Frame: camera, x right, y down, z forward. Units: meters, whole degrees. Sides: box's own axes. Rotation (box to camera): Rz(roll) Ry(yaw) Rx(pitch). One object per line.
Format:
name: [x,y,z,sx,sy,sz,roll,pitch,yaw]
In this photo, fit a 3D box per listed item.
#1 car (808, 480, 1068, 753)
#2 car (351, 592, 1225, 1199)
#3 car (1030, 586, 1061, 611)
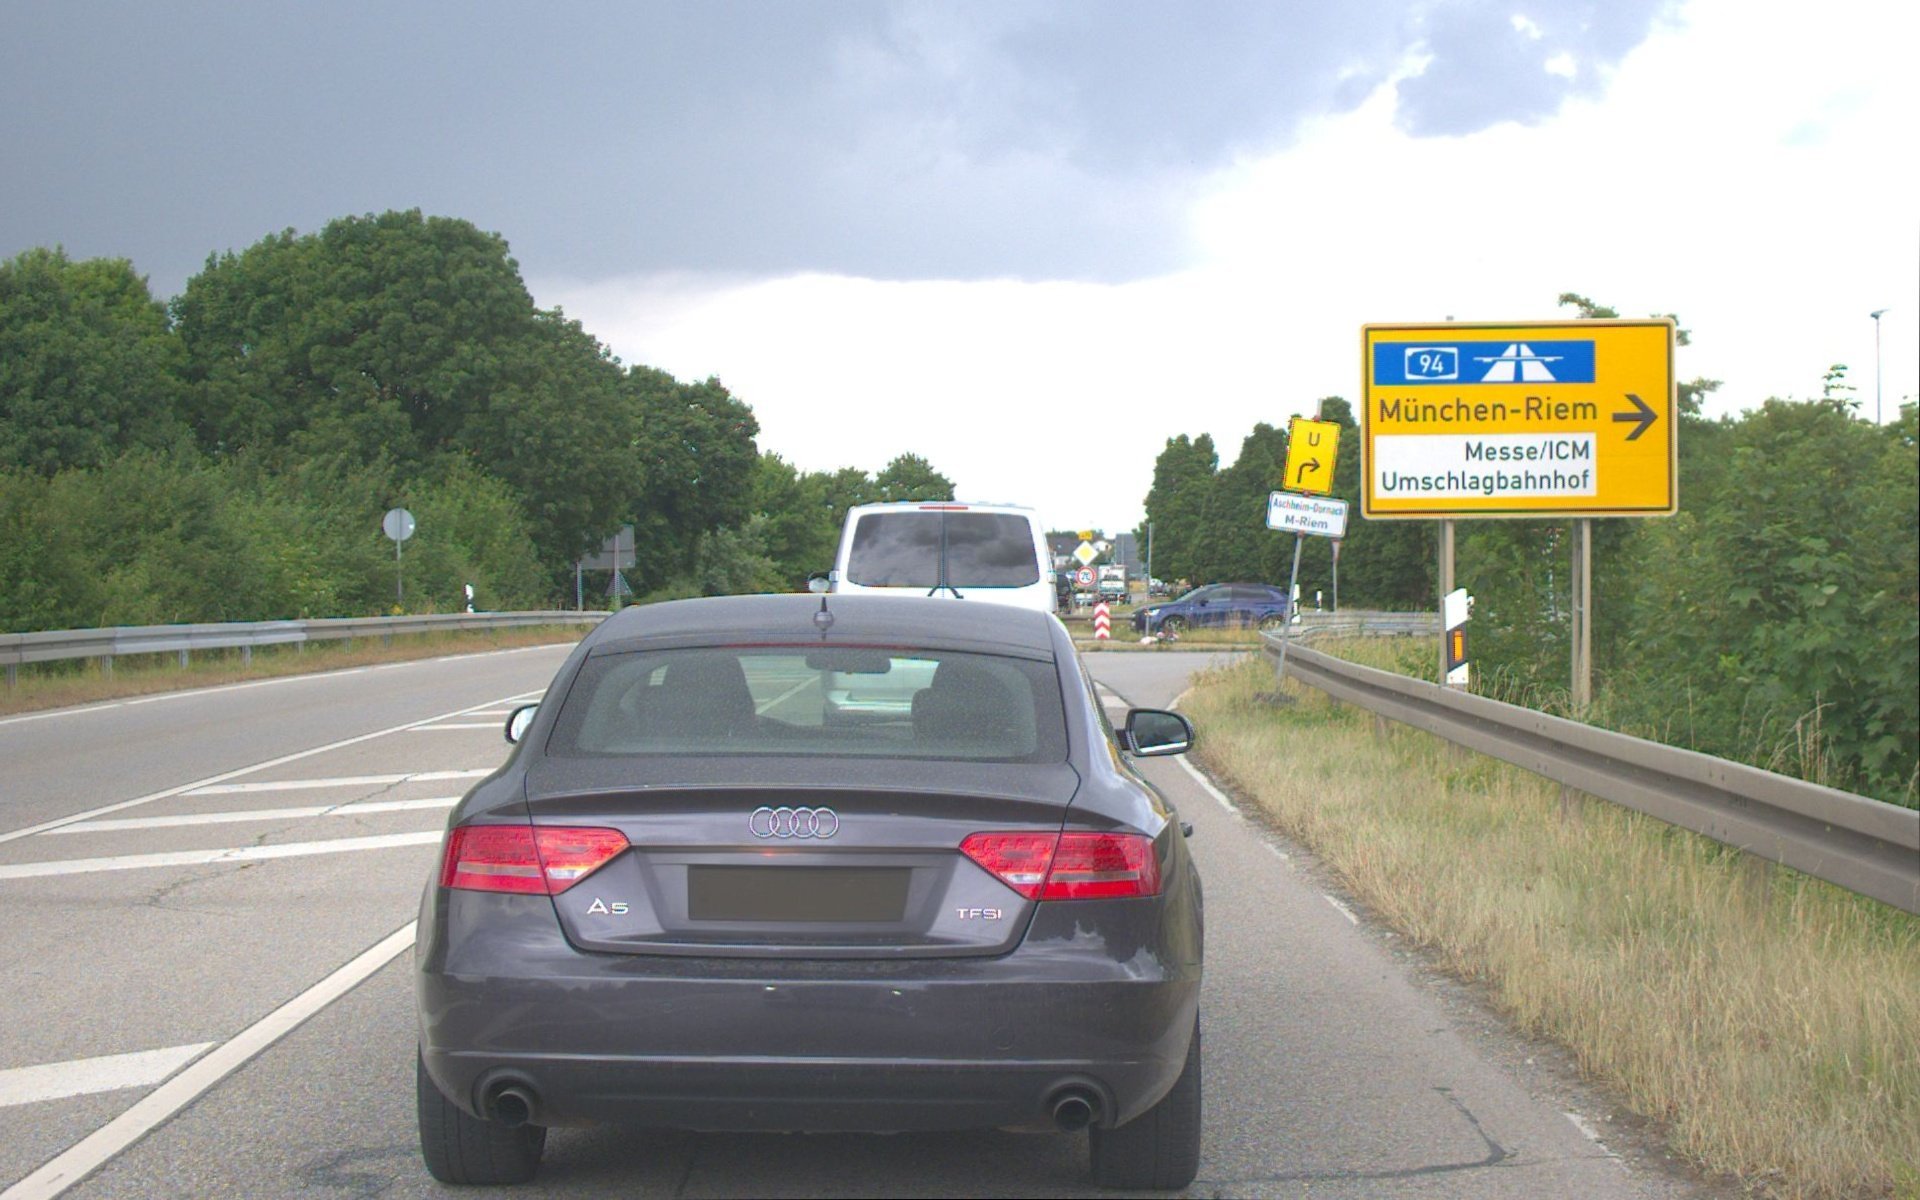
car: [-0.177,0.092,27.632,1.910,2.007,4.000,1,1,0]
car: [-0.370,0.693,8.697,1.779,1.394,3.336,0,0,-1]
car: [5.296,-0.085,212.356,1.734,1.449,4.000,1,1,-1]
